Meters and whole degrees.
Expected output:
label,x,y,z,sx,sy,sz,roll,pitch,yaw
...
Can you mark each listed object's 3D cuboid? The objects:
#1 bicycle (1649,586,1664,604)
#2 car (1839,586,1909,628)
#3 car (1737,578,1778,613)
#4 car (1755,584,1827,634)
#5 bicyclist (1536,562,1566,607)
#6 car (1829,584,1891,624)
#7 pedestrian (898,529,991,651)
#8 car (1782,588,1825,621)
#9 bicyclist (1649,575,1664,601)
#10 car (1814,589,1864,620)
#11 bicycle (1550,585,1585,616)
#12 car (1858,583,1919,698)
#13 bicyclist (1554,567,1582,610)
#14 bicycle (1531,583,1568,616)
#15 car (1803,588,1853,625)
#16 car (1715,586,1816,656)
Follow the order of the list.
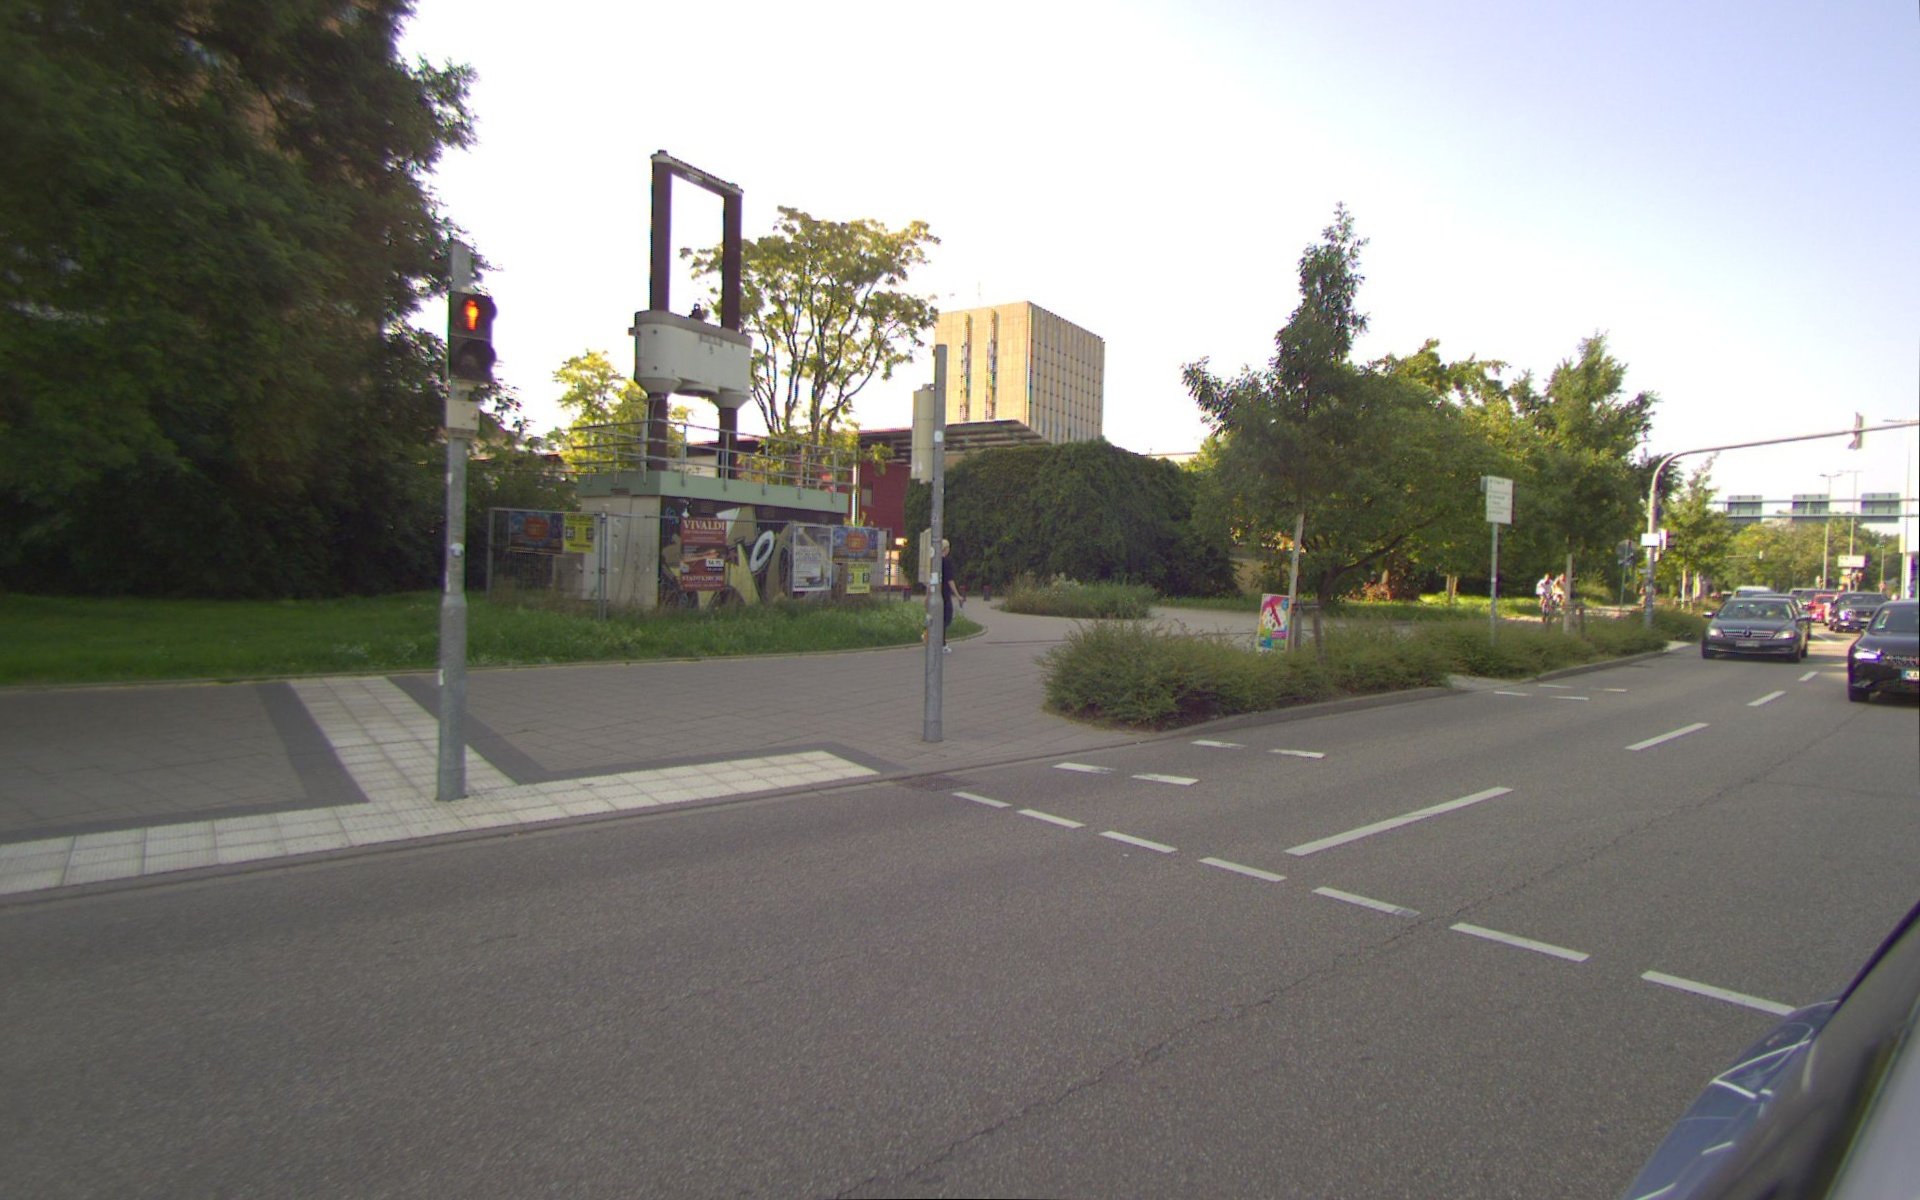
label,x,y,z,sx,sy,sz,roll,pitch,yaw
bicycle,46.438,-0.328,67.479,0.768,1.131,2.276,2,2,34
car,35.960,0.236,39.908,1.679,1.510,4.313,3,2,38
car,47.701,-0.293,60.604,1.678,1.965,4.316,3,2,36
car,28.030,0.245,34.240,1.679,1.510,4.609,3,2,38
bicyclist,21.823,-0.583,37.364,0.770,1.612,0.911,3,2,40
car,41.394,0.132,46.631,1.775,1.625,4.362,3,3,38
pedestrian,-0.243,-0.171,15.741,0.985,1.804,0.960,0,4,-42
car,54.734,0.272,65.720,1.677,1.965,4.023,3,2,35
bicyclist,46.404,-0.794,67.413,0.768,1.697,0.913,2,1,34
car,46.032,0.208,53.053,1.679,1.510,4.313,3,2,38
bicycle,23.126,-0.008,38.505,0.770,1.131,2.270,2,2,40
car,14.255,0.525,14.668,1.683,1.510,4.303,1,1,44
bicyclist,23.150,-0.445,38.525,0.770,1.613,0.910,2,1,41
bicycle,21.725,-0.027,37.284,0.770,1.131,2.270,3,2,40
car,49.717,0.314,58.021,1.677,1.965,4.023,3,2,35
car,19.001,0.420,23.804,1.681,1.460,4.307,1,1,41
